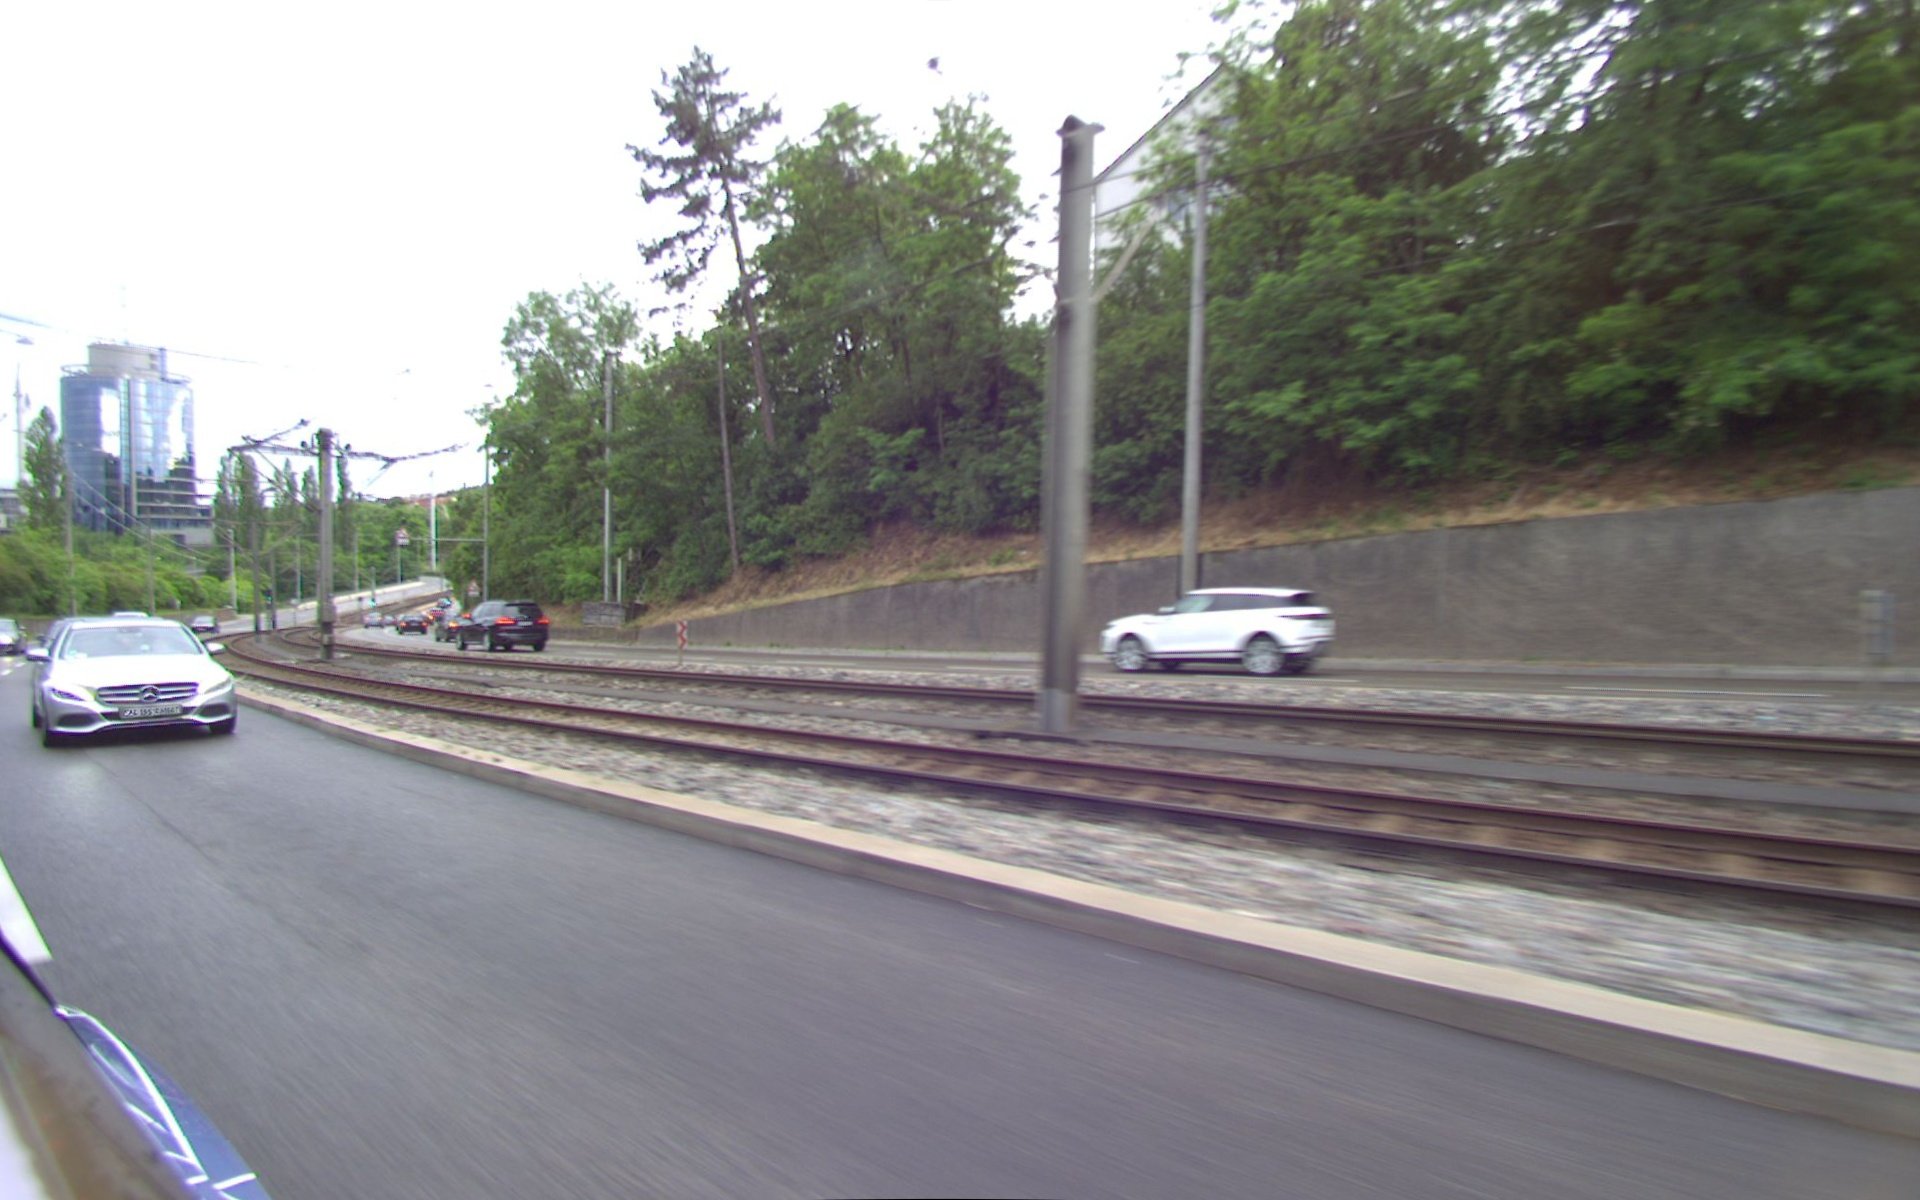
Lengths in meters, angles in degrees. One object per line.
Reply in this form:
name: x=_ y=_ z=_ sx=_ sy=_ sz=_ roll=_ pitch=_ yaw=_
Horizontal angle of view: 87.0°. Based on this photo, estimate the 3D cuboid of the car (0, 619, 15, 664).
car: x=-37.890 y=1.603 z=39.036 sx=4.000 sy=1.521 sz=1.786 roll=2 pitch=4 yaw=43

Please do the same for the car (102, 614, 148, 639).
car: x=-62.654 y=1.989 z=76.012 sx=1.780 sy=1.521 sz=4.014 roll=-2 pitch=3 yaw=-27

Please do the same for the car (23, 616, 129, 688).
car: x=-20.628 y=1.146 z=23.656 sx=1.704 sy=1.482 sz=3.893 roll=-2 pitch=0 yaw=-41

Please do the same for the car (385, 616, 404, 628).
car: x=-61.795 y=2.429 z=110.595 sx=1.640 sy=1.209 sz=4.477 roll=-1 pitch=0 yaw=-27

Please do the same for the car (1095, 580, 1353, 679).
car: x=4.990 y=0.527 z=19.418 sx=4.402 sy=1.696 sz=1.916 roll=-1 pitch=-1 yaw=38

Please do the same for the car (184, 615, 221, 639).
car: x=-66.804 y=2.351 z=89.325 sx=1.966 sy=2.029 sz=4.508 roll=-1 pitch=-1 yaw=-29

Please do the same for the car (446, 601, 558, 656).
car: x=-16.679 y=1.014 z=36.724 sx=2.207 sy=1.845 sz=5.142 roll=0 pitch=-1 yaw=-43

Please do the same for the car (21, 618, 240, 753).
car: x=-10.719 y=0.946 z=12.952 sx=1.835 sy=1.413 sz=4.318 roll=1 pitch=-1 yaw=-44

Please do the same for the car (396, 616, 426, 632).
car: x=-49.719 y=2.188 z=91.675 sx=1.776 sy=1.434 sz=4.477 roll=1 pitch=-1 yaw=-21

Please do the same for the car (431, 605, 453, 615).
car: x=-79.876 y=1.468 z=156.113 sx=2.179 sy=1.469 sz=4.475 roll=-1 pitch=0 yaw=-16

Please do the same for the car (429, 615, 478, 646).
car: x=-25.998 y=1.540 z=51.843 sx=1.799 sy=1.482 sz=4.426 roll=1 pitch=-2 yaw=-32

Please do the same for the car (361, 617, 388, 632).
car: x=-58.438 y=2.402 z=101.070 sx=1.878 sy=1.469 sz=4.477 roll=0 pitch=-1 yaw=-24

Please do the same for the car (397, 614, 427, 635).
car: x=-39.291 y=1.751 z=72.549 sx=1.867 sy=1.392 sz=4.466 roll=0 pitch=-1 yaw=-28
